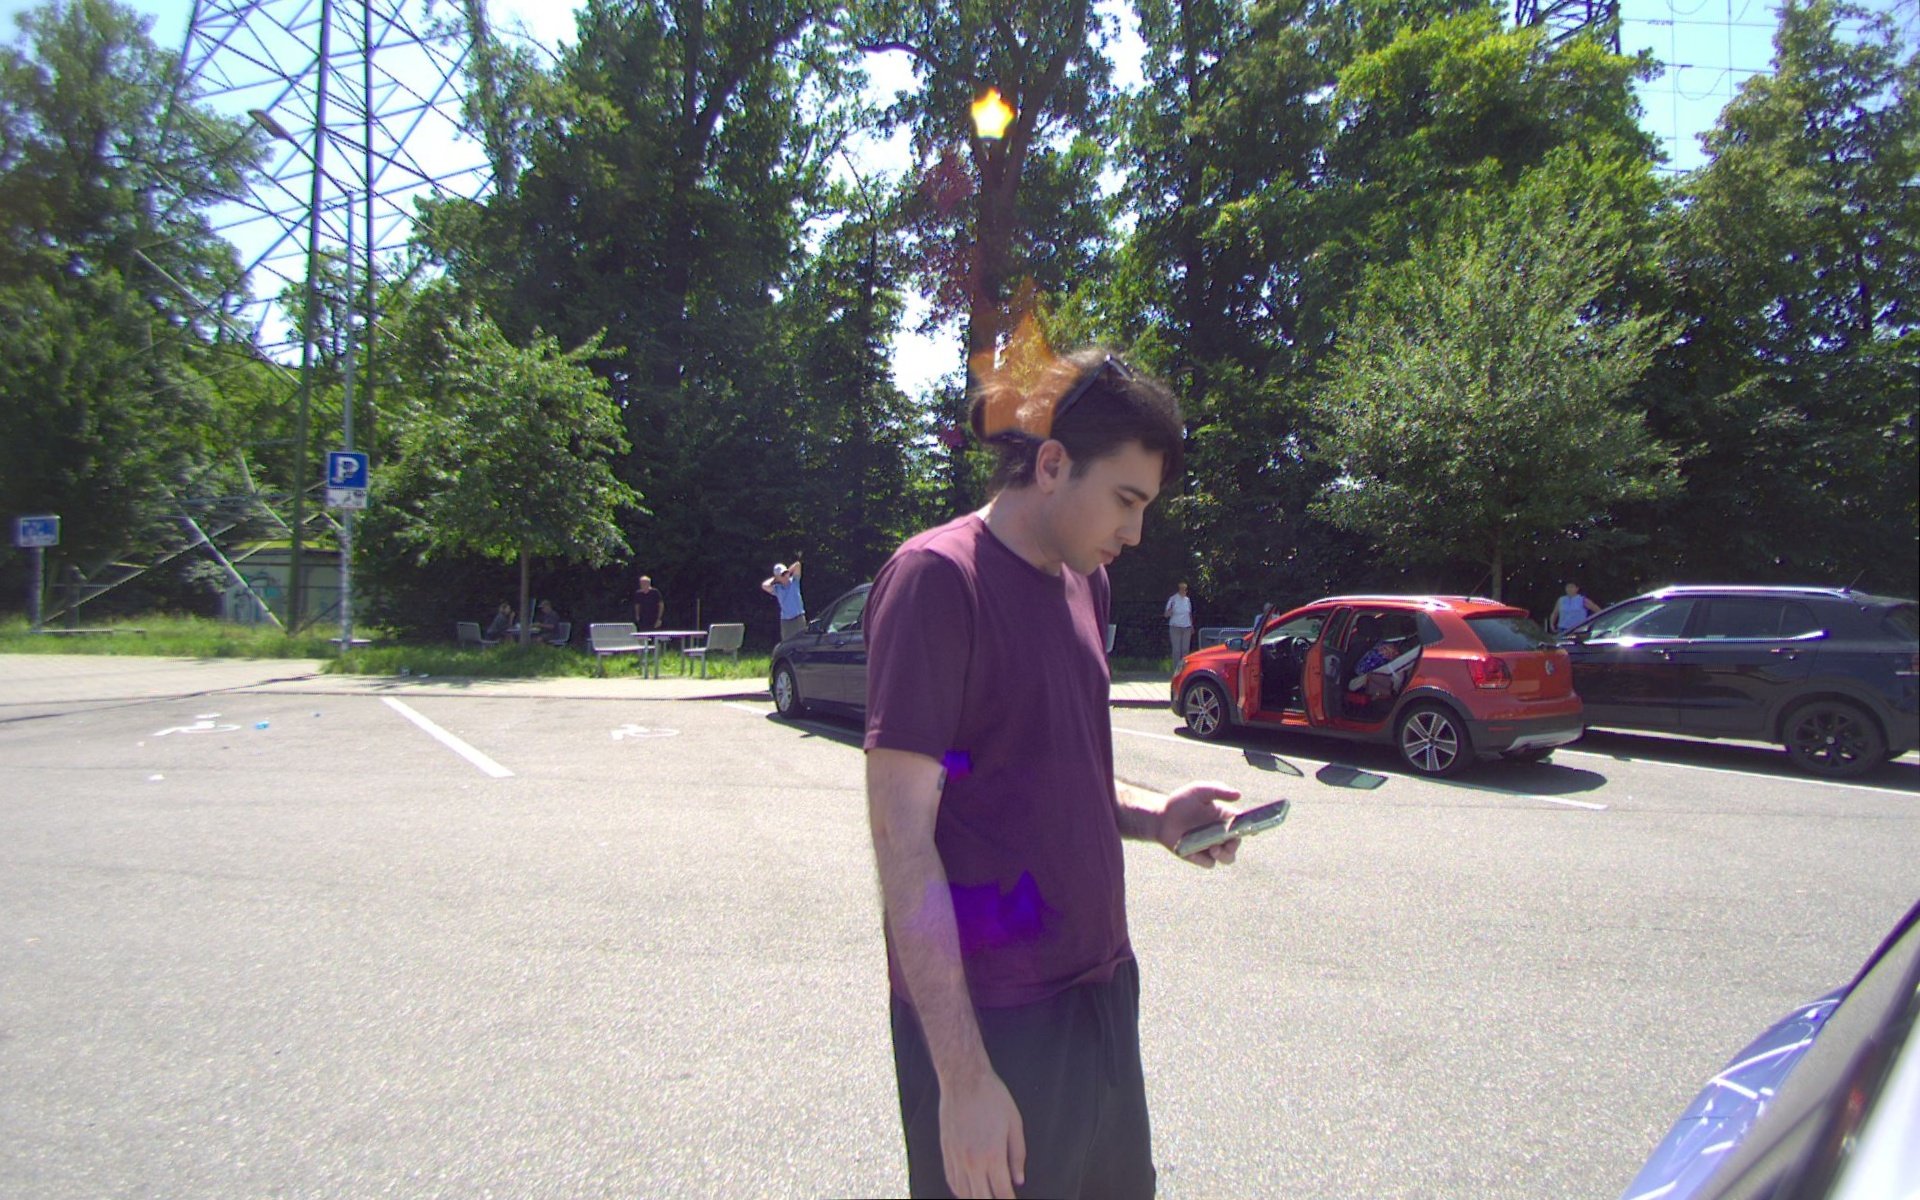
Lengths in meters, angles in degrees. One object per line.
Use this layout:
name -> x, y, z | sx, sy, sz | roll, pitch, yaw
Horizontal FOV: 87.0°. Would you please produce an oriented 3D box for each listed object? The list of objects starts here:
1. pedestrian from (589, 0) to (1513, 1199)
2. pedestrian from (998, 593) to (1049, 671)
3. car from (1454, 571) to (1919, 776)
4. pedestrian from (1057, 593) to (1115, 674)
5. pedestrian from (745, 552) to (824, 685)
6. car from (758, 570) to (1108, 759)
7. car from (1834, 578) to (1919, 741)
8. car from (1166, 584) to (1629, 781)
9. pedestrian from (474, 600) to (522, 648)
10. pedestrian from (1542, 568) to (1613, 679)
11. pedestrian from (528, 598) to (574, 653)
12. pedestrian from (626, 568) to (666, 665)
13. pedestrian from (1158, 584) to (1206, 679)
pedestrian -> 0.138, 0.452, 1.348 | 0.828, 1.797, 0.926 | 0, -1, 45
pedestrian -> 1.062, 0.534, 17.126 | 0.656, 1.285, 0.655 | 1, -1, -17
car -> 7.210, 0.573, 9.832 | 1.807, 1.612, 3.967 | 1, 0, -38
pedestrian -> 2.101, 0.546, 16.897 | 0.656, 1.311, 0.832 | 1, -1, -17
pedestrian -> -2.455, 0.250, 14.162 | 0.786, 1.784, 0.809 | 1, -1, -39
car -> -0.481, 0.541, 10.694 | 1.809, 1.588, 4.017 | 1, 0, -35
car -> 10.932, 0.598, 9.380 | 1.745, 1.612, 3.972 | 1, 0, -32
car -> 3.929, 0.618, 9.645 | 1.746, 1.475, 3.710 | 1, 0, -33
pedestrian -> -10.412, 0.534, 22.819 | 0.796, 1.062, 0.714 | 1, -1, -43
pedestrian -> 9.272, 0.343, 15.195 | 0.796, 1.614, 0.714 | 1, -1, -42
pedestrian -> -9.560, 0.591, 23.656 | 0.796, 1.253, 0.713 | 1, -1, -44
pedestrian -> -6.151, 0.315, 19.831 | 0.700, 1.851, 0.906 | 1, -1, -18
pedestrian -> 3.859, 0.531, 17.577 | 0.764, 1.614, 0.806 | 0, -1, 15
